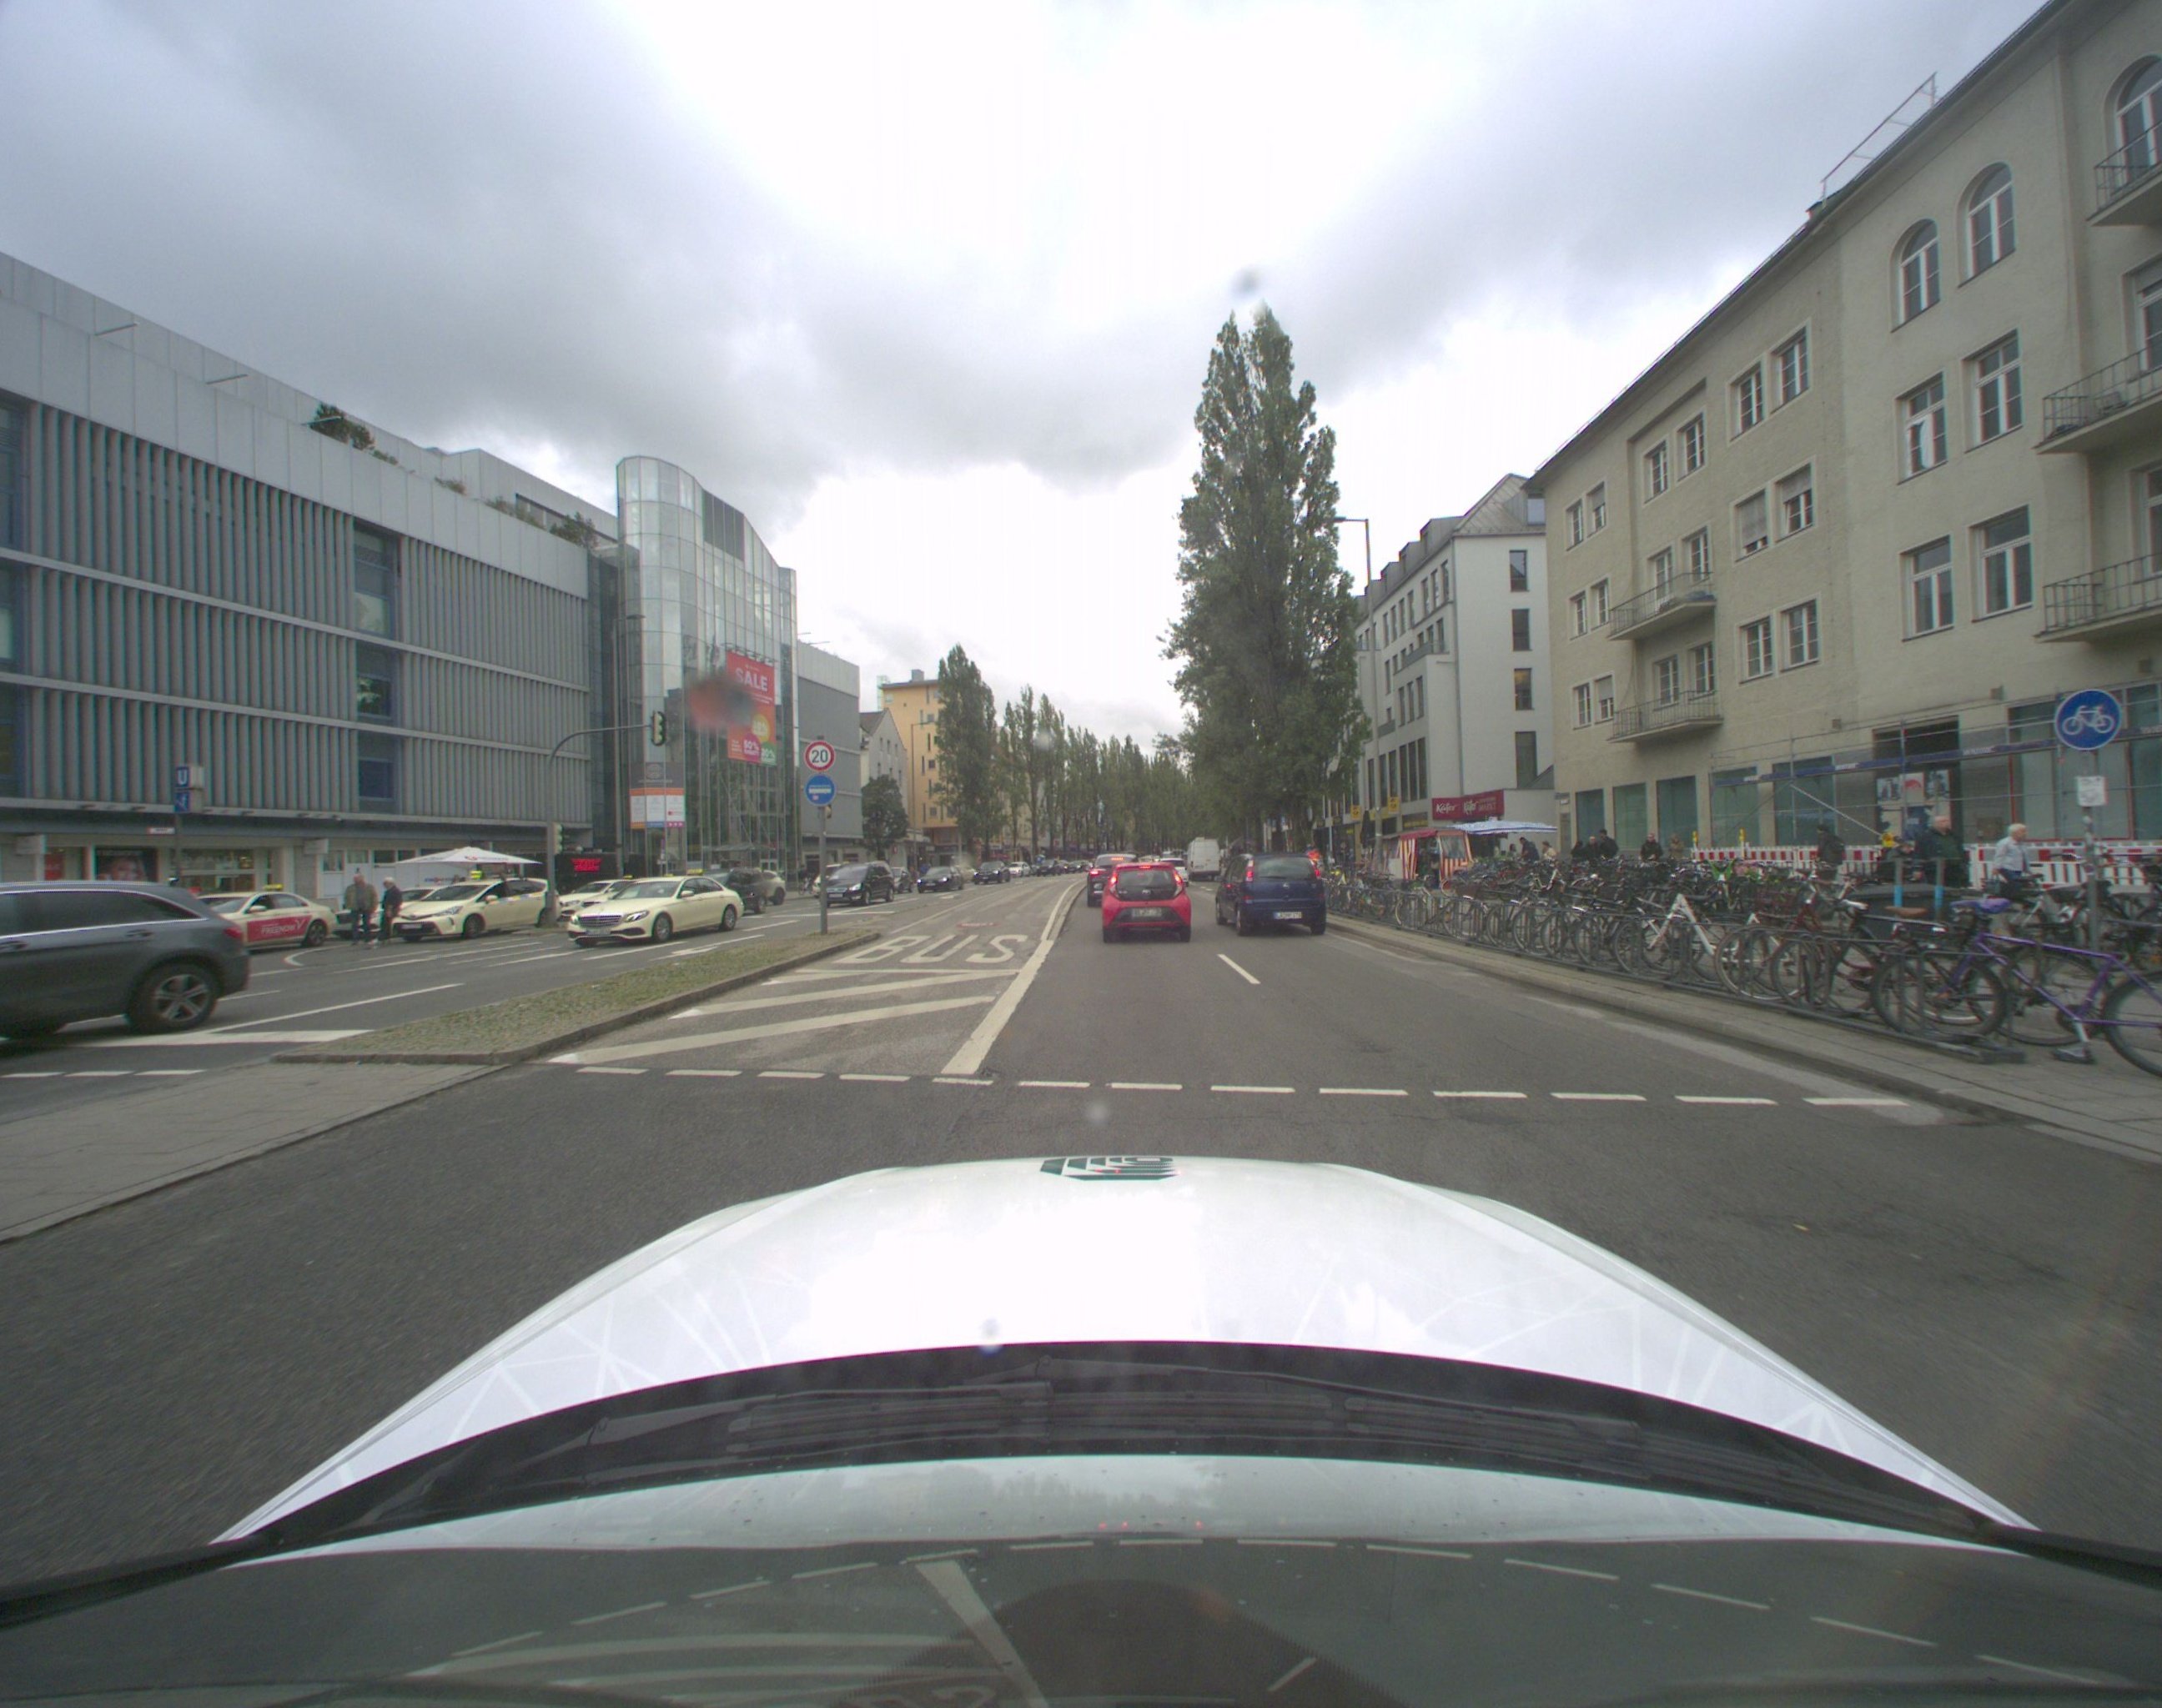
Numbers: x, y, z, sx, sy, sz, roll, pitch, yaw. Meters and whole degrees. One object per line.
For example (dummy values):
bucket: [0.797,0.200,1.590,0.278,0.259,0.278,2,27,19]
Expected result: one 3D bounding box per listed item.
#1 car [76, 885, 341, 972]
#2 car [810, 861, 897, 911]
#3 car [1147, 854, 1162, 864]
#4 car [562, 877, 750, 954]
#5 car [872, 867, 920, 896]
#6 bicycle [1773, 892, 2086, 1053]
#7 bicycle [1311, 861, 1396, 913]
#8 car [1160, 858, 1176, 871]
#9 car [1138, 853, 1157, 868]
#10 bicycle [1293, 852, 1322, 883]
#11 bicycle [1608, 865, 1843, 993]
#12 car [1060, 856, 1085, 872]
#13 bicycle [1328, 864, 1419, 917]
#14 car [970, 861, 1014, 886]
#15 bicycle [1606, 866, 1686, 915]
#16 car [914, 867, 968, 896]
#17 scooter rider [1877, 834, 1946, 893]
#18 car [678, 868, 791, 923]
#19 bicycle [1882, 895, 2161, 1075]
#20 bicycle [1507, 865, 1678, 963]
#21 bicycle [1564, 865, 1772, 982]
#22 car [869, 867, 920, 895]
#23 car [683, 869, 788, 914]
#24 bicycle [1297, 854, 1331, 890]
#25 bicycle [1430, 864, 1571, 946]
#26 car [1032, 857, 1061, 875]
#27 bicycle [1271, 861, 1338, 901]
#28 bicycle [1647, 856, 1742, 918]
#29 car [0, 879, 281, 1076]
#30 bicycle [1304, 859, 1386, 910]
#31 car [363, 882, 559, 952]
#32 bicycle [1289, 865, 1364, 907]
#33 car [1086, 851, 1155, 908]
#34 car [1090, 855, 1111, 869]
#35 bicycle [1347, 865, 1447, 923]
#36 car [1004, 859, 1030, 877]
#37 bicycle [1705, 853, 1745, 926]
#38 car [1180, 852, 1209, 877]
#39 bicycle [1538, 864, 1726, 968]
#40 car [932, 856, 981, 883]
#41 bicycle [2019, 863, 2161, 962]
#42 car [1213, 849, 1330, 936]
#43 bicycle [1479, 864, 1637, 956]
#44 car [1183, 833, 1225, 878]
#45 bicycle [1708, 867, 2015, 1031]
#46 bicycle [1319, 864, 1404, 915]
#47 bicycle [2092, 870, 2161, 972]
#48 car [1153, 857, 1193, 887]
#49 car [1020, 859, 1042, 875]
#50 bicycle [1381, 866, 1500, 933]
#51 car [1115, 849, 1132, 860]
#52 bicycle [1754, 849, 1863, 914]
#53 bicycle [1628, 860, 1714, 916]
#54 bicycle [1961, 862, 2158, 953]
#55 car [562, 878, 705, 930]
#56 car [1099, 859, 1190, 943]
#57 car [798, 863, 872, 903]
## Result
car: [-19.968,1.615,19.000,1.995,1.536,4.396,-2,0,-12]
car: [-8.916,1.210,32.373,1.928,1.739,4.591,-2,0,3]
car: [13.260,0.818,146.584,1.979,1.691,4.431,-2,0,14]
car: [-9.735,1.340,19.157,1.758,1.421,4.642,-2,0,3]
car: [-10.647,1.560,47.068,1.616,1.552,3.390,-2,0,6]
bicycle: [6.371,0.828,6.209,0.502,1.028,1.582,-2,0,-40]
bicycle: [6.451,0.771,19.349,1.815,1.168,0.590,-2,0,44]
car: [12.973,1.574,120.968,1.981,1.838,4.011,-2,0,10]
car: [7.028,0.681,85.888,1.763,1.439,3.946,-2,0,7]
bicycle: [9.654,0.545,34.768,0.611,1.265,2.521,-2,0,3]
bicycle: [6.462,0.720,8.262,1.781,1.158,0.551,-2,0,40]
car: [-0.976,1.143,93.951,1.982,1.691,4.933,-2,0,9]
bicycle: [6.442,0.799,18.019,1.782,1.111,0.590,-2,0,44]
car: [-6.208,1.347,57.569,1.982,1.534,4.597,-2,0,8]
bicycle: [11.221,0.718,16.187,1.287,0.915,0.369,-2,0,2]
car: [-7.808,1.505,45.851,1.836,1.382,4.607,-2,0,5]
scooter rider: [17.892,0.199,17.556,0.683,1.219,0.719,-3,0,0]
car: [-11.903,1.368,28.331,1.831,1.614,4.262,-2,0,4]
bicycle: [6.417,0.814,5.351,0.502,1.028,1.582,-2,0,-40]
bicycle: [6.484,0.748,10.416,1.782,1.158,0.490,-2,0,31]
bicycle: [6.396,0.721,8.947,1.781,1.158,0.551,-2,0,40]
car: [-12.628,1.812,55.456,1.983,1.655,4.541,-2,0,6]
car: [-14.842,1.589,35.224,1.979,1.679,4.200,-2,0,14]
bicycle: [8.660,0.650,30.418,0.611,1.265,2.521,-2,0,3]
bicycle: [6.389,0.762,12.452,1.781,1.158,0.656,-2,0,37]
car: [-3.325,1.145,79.666,1.983,1.691,4.931,0,0,7]
bicycle: [6.649,0.794,24.269,1.815,1.136,0.590,-2,0,44]
bicycle: [11.304,0.606,15.024,1.412,1.077,0.369,-2,0,2]
car: [-10.553,1.183,7.380,1.736,1.670,4.735,-3,0,2]
bicycle: [6.506,0.755,20.130,1.815,1.197,0.590,-2,0,44]
car: [-16.940,1.653,22.596,1.893,1.543,4.395,-2,0,3]
bicycle: [6.470,0.831,21.540,1.815,1.052,0.590,-2,0,44]
car: [1.225,0.771,26.099,1.986,1.618,4.001,-2,0,1]
car: [2.564,0.984,105.375,1.982,1.691,4.933,-2,0,9]
bicycle: [6.422,0.796,16.592,1.782,1.111,0.566,-2,0,43]
car: [-6.401,1.382,82.064,1.846,1.816,4.008,0,0,7]
bicycle: [11.041,0.574,13.982,0.364,1.141,1.734,-3,0,34]
car: [8.132,0.734,58.642,1.696,1.662,3.558,-2,0,2]
bicycle: [6.528,0.724,9.754,1.782,1.158,0.490,-2,0,28]
car: [-9.802,1.181,64.713,1.978,1.816,4.553,-4,0,16]
bicycle: [11.262,0.612,8.752,1.747,0.964,0.453,-2,0,2]
car: [3.822,0.719,16.866,1.696,1.589,3.558,-1,0,2]
bicycle: [6.449,0.748,11.072,1.781,1.158,0.490,-2,0,32]
car: [7.876,0.112,52.567,2.098,2.718,4.807,-2,0,3]
bicycle: [6.471,0.729,6.867,0.562,1.198,1.782,-2,0,-45]
bicycle: [6.410,0.800,18.686,1.782,1.111,0.494,-2,0,44]
bicycle: [11.336,0.638,8.190,1.748,0.964,0.453,-2,0,0]
car: [4.737,0.900,42.306,1.693,1.426,3.498,-2,0,1]
car: [-5.360,1.405,87.614,1.737,1.571,3.499,-2,0,7]
bicycle: [6.386,0.790,14.515,1.781,1.111,0.656,-2,0,39]
car: [7.147,0.088,136.682,1.979,1.691,4.431,-2,0,14]
bicycle: [12.944,0.488,14.500,1.546,1.075,0.451,-2,0,-3]
bicycle: [11.240,0.638,15.531,1.309,0.999,0.369,-2,0,2]
bicycle: [11.322,0.607,9.444,1.747,0.964,0.369,-2,0,2]
car: [-16.118,1.752,29.667,1.981,1.508,4.649,-2,0,11]
car: [1.216,0.846,16.045,1.598,1.461,3.132,-1,0,3]
car: [-14.158,1.624,47.245,1.983,2.013,5.533,-2,0,6]
